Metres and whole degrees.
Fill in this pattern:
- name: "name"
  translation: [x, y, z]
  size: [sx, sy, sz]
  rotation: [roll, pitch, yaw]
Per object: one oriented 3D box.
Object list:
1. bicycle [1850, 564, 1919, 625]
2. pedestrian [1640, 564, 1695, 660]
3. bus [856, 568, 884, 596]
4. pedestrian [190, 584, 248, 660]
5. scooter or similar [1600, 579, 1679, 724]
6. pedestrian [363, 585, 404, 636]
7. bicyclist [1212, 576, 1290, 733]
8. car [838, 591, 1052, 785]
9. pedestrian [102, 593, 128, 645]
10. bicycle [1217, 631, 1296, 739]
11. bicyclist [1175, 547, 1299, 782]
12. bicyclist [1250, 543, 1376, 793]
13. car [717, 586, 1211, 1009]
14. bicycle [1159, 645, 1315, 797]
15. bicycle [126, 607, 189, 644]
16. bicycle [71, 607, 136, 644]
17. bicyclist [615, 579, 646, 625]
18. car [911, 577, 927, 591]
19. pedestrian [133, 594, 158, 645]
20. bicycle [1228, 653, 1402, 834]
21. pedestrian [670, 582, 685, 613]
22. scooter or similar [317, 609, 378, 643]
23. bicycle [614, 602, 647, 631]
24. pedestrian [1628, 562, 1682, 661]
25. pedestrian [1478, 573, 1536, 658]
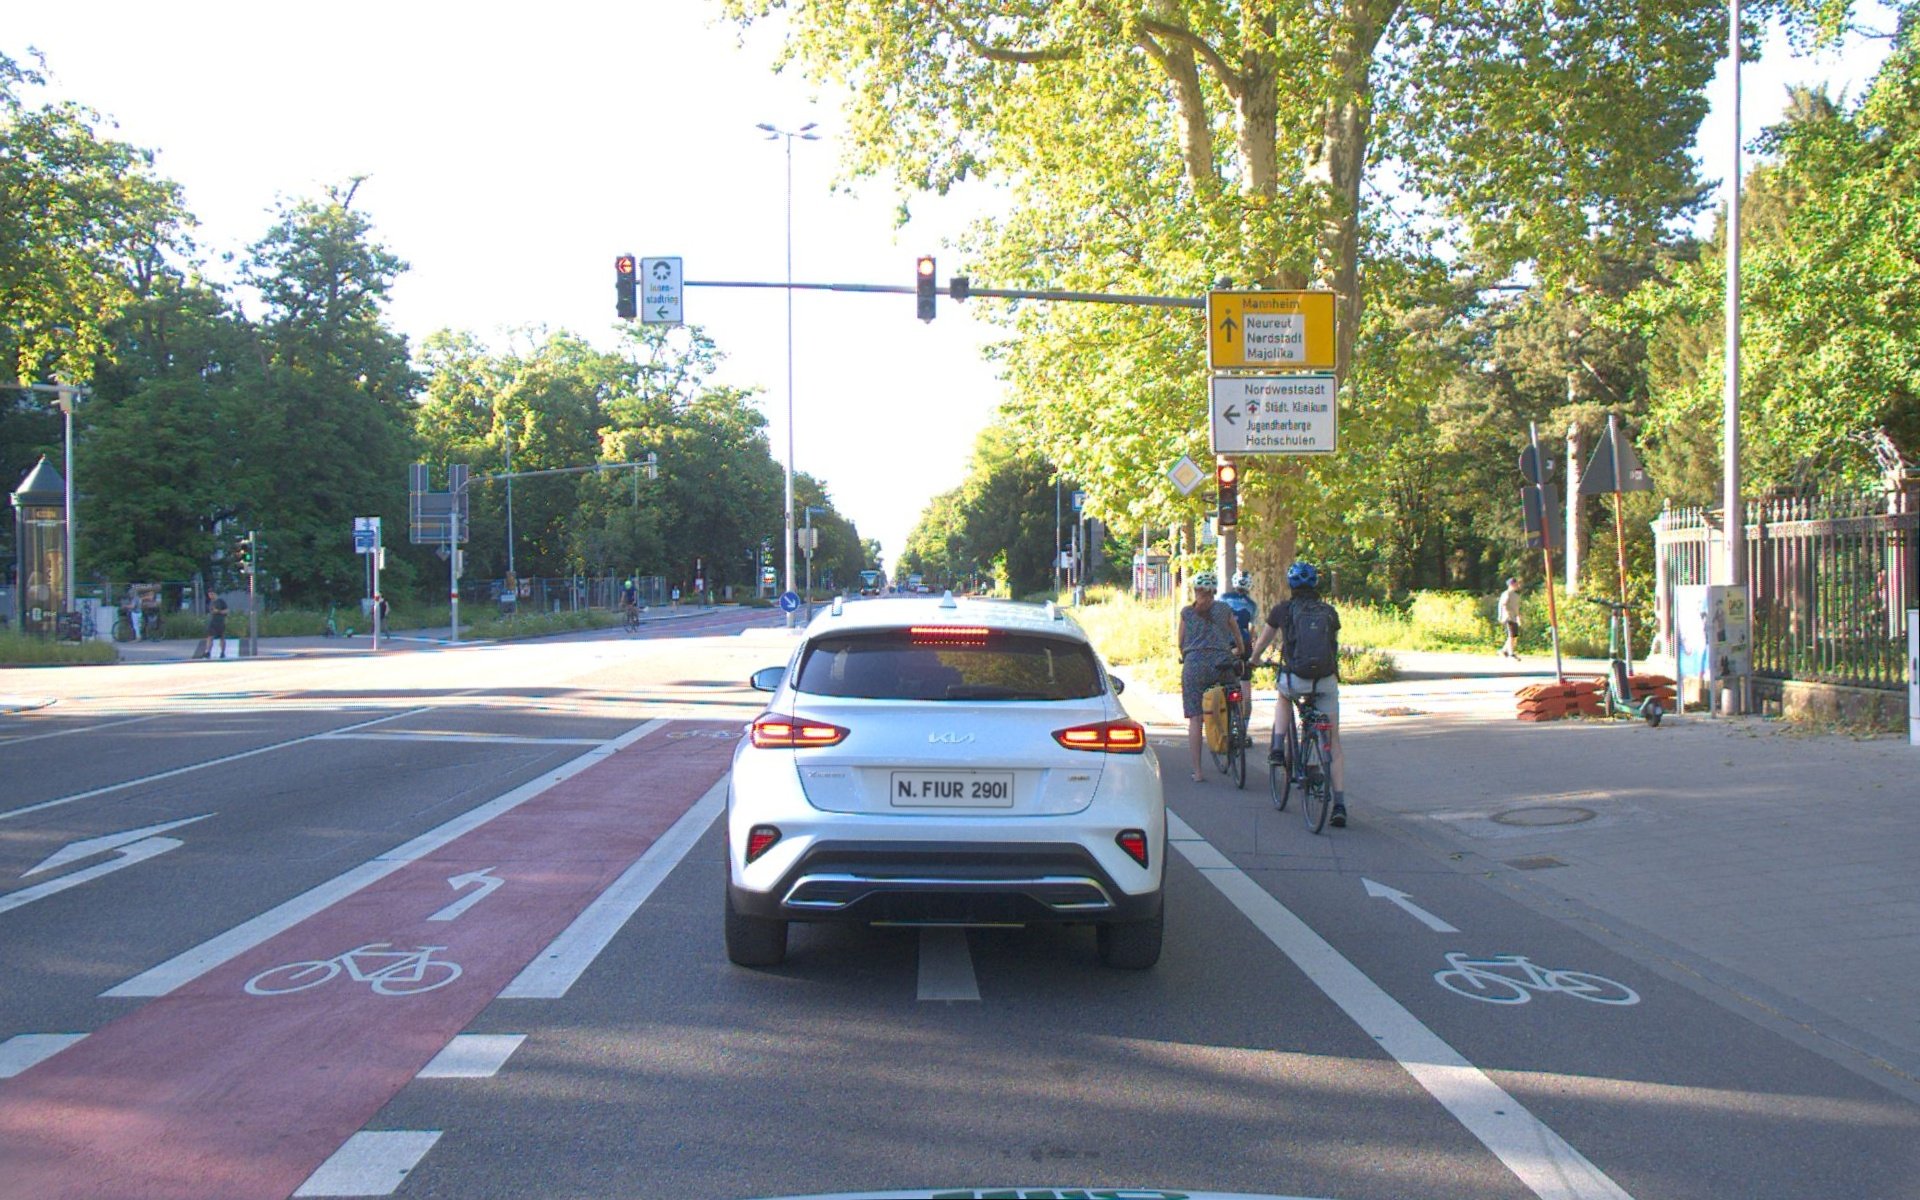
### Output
- name: "bicycle"
  translation: [16.187, -0.087, 28.374]
  size: [1.584, 1.032, 0.475]
  rotation: [0, 0, -1]
- name: "pedestrian"
  translation: [12.808, 0.221, 29.955]
  size: [0.808, 1.711, 0.694]
  rotation: [0, 0, 13]
- name: "bus"
  translation: [-12.821, -2.563, 234.289]
  size: [3.668, 3.737, 13.228]
  rotation: [-1, 1, -4]
- name: "pedestrian"
  translation: [-20.286, 0.598, 45.284]
  size: [0.974, 2.049, 1.191]
  rotation: [0, 0, 4]
- name: "scooter or similar"
  translation: [6.541, 0.473, 15.955]
  size: [0.223, 1.350, 1.171]
  rotation: [-1, 0, -2]
- name: "pedestrian"
  translation: [-19.192, 0.344, 55.058]
  size: [1.067, 1.631, 0.999]
  rotation: [-1, 0, -7]
- name: "bicyclist"
  translation: [2.900, 0.529, 16.518]
  size: [0.543, 1.504, 0.716]
  rotation: [-3, 0, -2]
- name: "car"
  translation: [-0.192, 0.693, 15.068]
  size: [1.694, 1.509, 3.515]
  rotation: [-1, 1, -3]
- name: "pedestrian"
  translation: [-27.344, 0.610, 53.540]
  size: [0.617, 1.671, 0.444]
  rotation: [0, 0, -11]
- name: "bicycle"
  translation: [2.934, 0.822, 16.466]
  size: [0.393, 0.973, 1.550]
  rotation: [-3, 0, -2]
- name: "bicyclist"
  translation: [2.241, 0.500, 13.515]
  size: [0.738, 1.827, 1.164]
  rotation: [1, 0, -2]
- name: "bicyclist"
  translation: [2.377, 0.444, 11.194]
  size: [0.652, 1.630, 0.720]
  rotation: [1, 0, -2]
- name: "car"
  translation: [-0.053, 0.690, 7.929]
  size: [1.785, 1.506, 3.934]
  rotation: [0, 1, -2]
- name: "bicycle"
  translation: [2.223, 0.940, 13.642]
  size: [0.742, 1.031, 2.568]
  rotation: [1, 1, -2]
- name: "bicycle"
  translation: [-26.034, 0.824, 53.640]
  size: [1.826, 1.168, 0.290]
  rotation: [0, 0, -8]
- name: "bicycle"
  translation: [-27.856, 0.823, 53.810]
  size: [1.826, 1.168, 0.442]
  rotation: [0, 0, -8]
- name: "bicyclist"
  translation: [-11.952, 0.078, 60.024]
  size: [0.857, 1.636, 1.188]
  rotation: [-1, 0, 1]
- name: "car"
  translation: [-6.380, -2.460, 256.989]
  size: [1.956, 2.049, 3.994]
  rotation: [-1, 1, -7]
- name: "pedestrian"
  translation: [-26.265, 0.627, 53.341]
  size: [0.617, 1.608, 0.444]
  rotation: [0, 0, -11]
- name: "bicycle"
  translation: [2.371, 0.921, 11.286]
  size: [0.655, 1.027, 2.080]
  rotation: [1, 1, -2]
- name: "pedestrian"
  translation: [-16.946, -0.161, 99.086]
  size: [0.769, 1.817, 0.751]
  rotation: [0, 0, 0]
- name: "scooter or similar"
  translation: [-20.772, 0.874, 56.139]
  size: [0.697, 1.144, 1.916]
  rotation: [0, 0, 32]
- name: "bicycle"
  translation: [-11.945, 0.584, 60.007]
  size: [0.650, 1.006, 2.504]
  rotation: [-1, 1, 1]
- name: "pedestrian"
  translation: [12.255, 0.199, 29.186]
  size: [0.675, 1.729, 0.644]
  rotation: [0, 0, -1]
- name: "pedestrian"
  translation: [10.072, 0.279, 30.479]
  size: [0.801, 1.544, 0.916]
  rotation: [0, 0, 2]
